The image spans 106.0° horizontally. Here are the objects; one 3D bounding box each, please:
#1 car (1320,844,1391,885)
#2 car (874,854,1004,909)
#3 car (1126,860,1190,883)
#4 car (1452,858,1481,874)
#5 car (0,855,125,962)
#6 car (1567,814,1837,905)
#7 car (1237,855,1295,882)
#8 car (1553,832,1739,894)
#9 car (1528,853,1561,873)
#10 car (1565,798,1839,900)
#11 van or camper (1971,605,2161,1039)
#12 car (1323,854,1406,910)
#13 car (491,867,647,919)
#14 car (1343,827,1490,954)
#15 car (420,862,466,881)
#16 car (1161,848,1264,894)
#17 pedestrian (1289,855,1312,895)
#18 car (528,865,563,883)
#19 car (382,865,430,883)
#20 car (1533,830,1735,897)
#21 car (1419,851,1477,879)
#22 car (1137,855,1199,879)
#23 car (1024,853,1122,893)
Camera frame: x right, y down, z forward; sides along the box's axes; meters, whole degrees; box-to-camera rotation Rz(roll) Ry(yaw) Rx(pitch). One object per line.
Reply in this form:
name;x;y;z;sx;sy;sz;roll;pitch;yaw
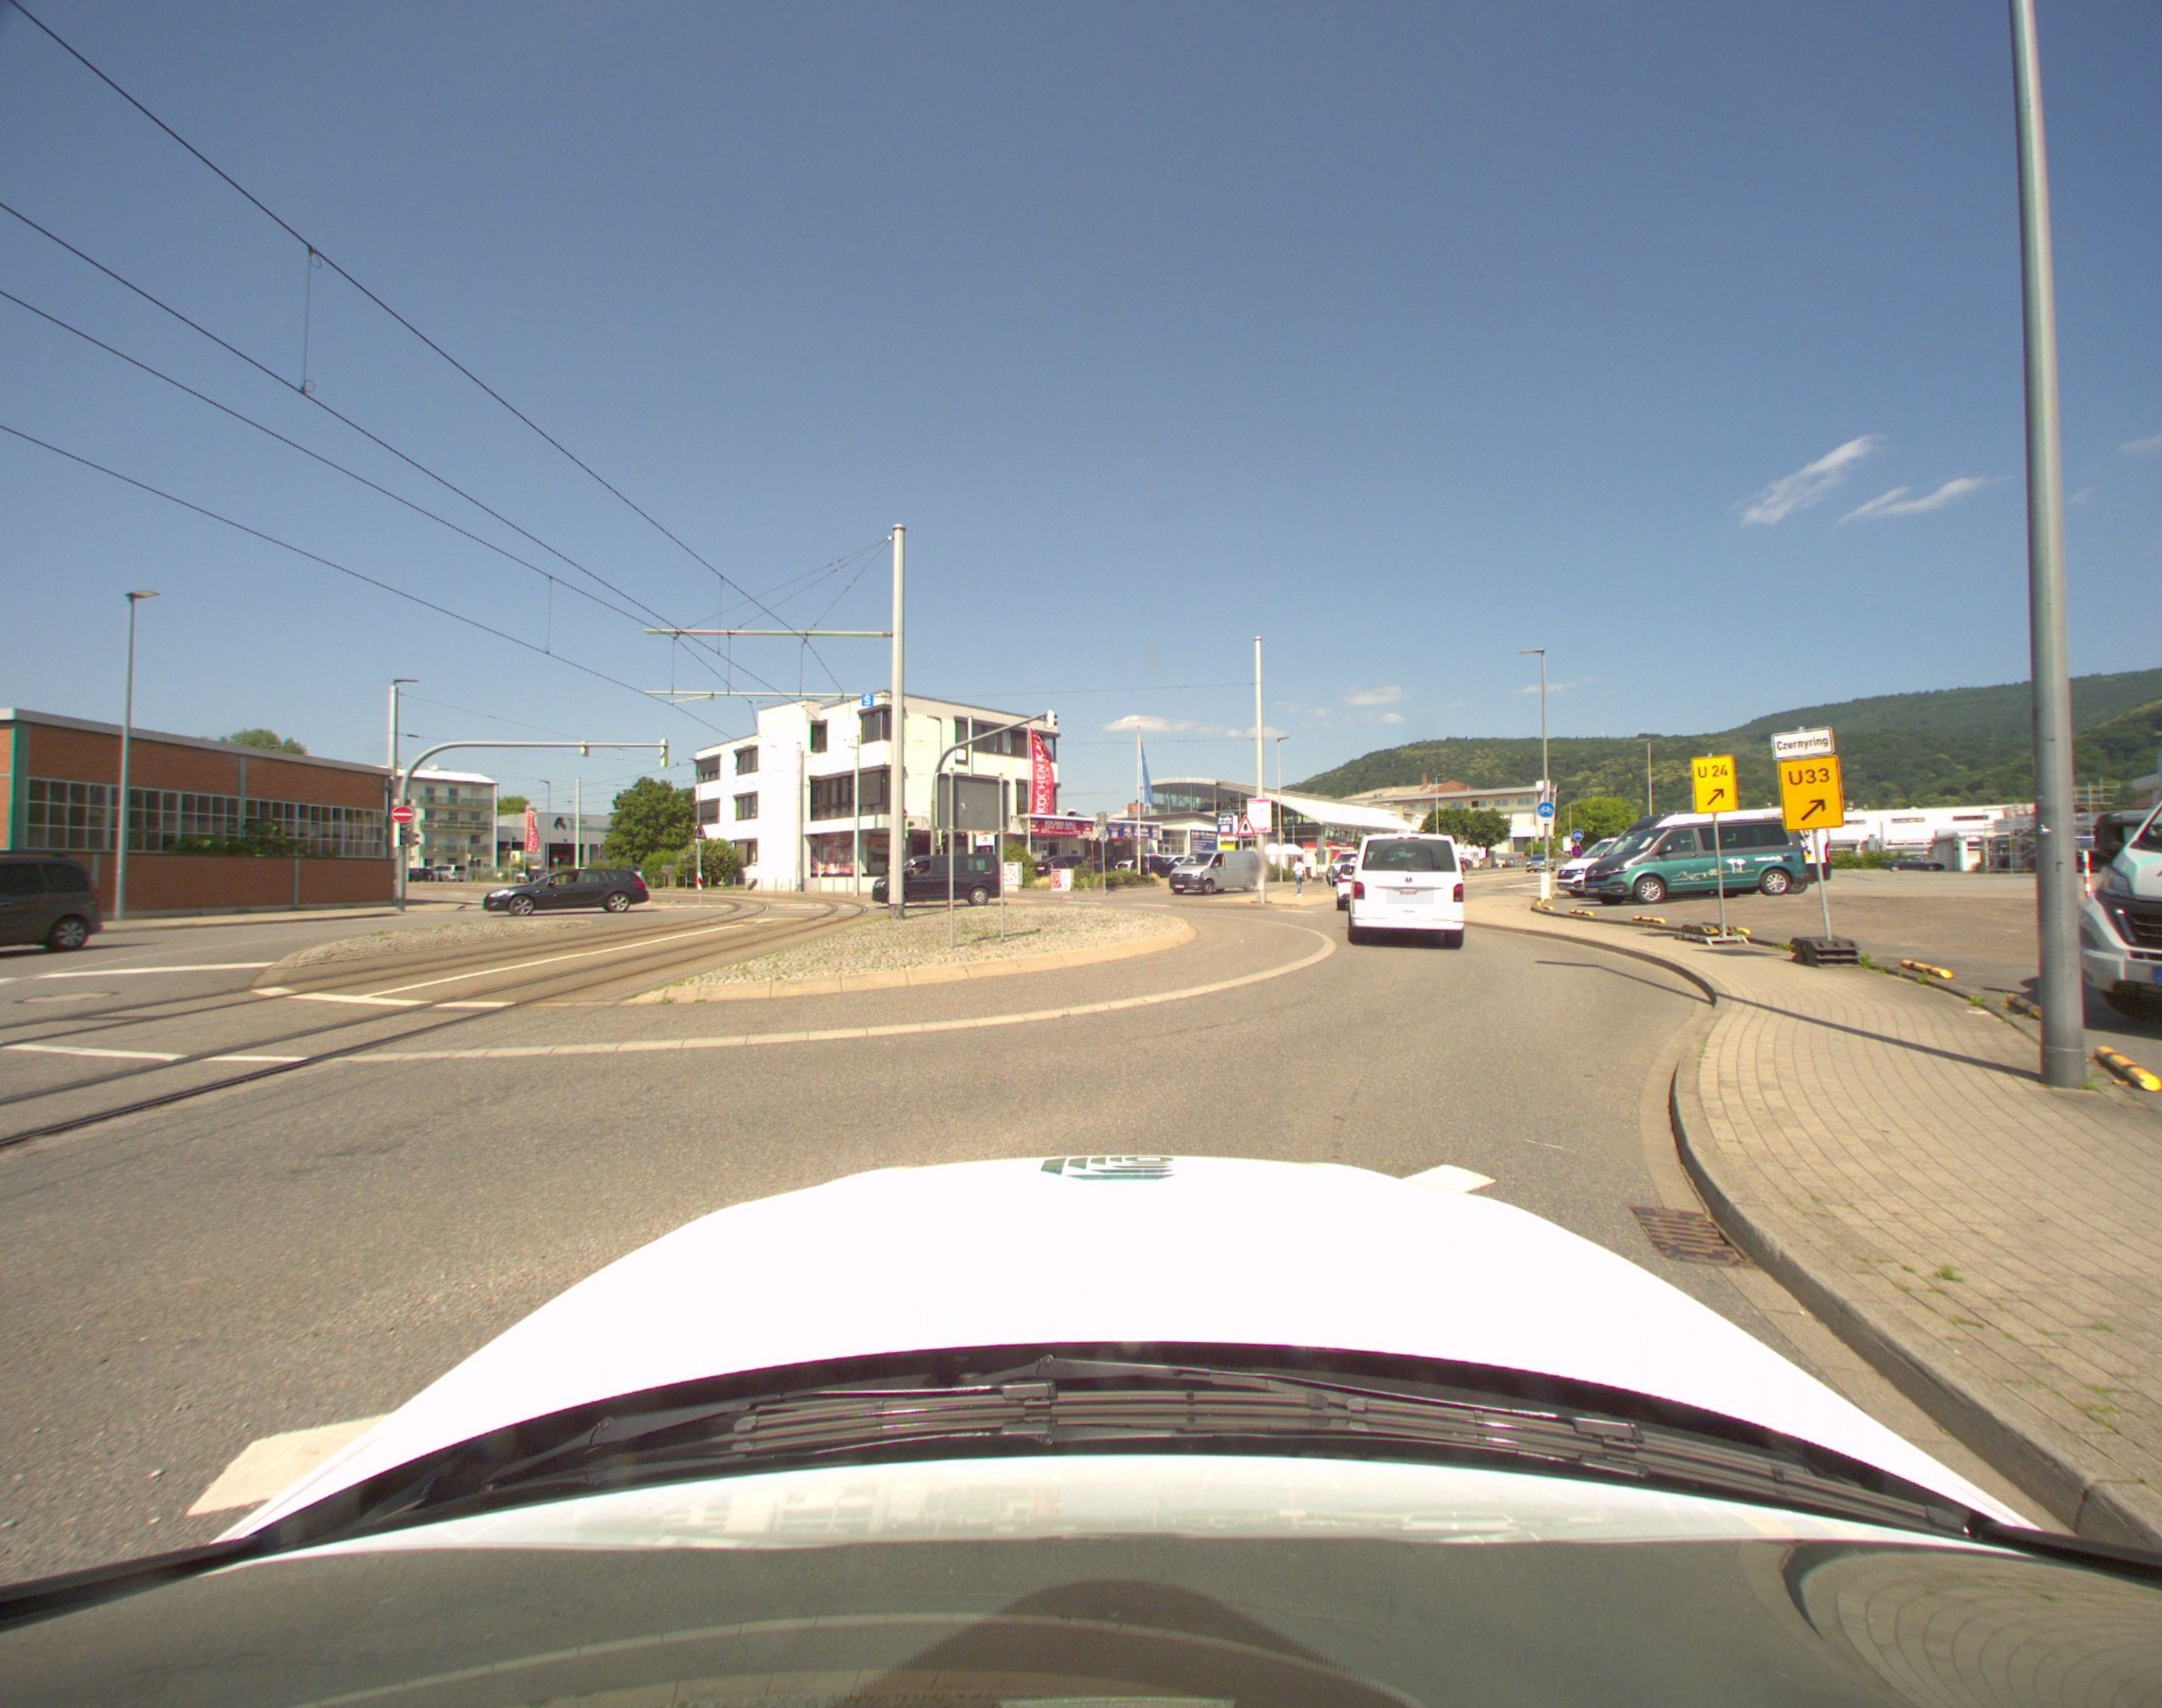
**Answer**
car;15.332;0.533;45.314;2.002;2.114;4.965;-1;0;41
car;-5.370;0.963;30.605;4.632;1.910;2.087;-1;0;-16
car;5.068;1.126;53.324;2.007;1.427;4.344;-1;-1;40
car;40.279;1.242;85.199;1.735;1.585;3.670;-1;-1;8
car;-19.327;0.928;13.493;1.981;1.818;4.400;0;-1;-6
car;15.697;0.154;20.852;5.188;2.113;2.099;-1;-1;3
car;12.067;0.918;52.893;1.974;1.618;4.025;-2;-1;41
car;20.183;0.335;29.328;5.099;2.014;1.937;-2;-1;12
car;43.434;0.799;76.310;1.890;1.760;4.479;-2;-1;40
car;18.117;-0.107;24.060;6.107;2.717;2.310;-1;-1;5
van or camper;10.861;-0.354;5.617;7.045;2.946;2.332;-2;-1;-3
car;9.466;0.895;27.533;1.981;1.733;4.577;-1;-1;11
car;-16.898;1.240;26.962;4.261;1.556;1.948;0;-2;-36
car;6.304;0.573;15.901;2.145;2.013;5.040;2;1;17
car;-71.751;1.972;91.610;3.958;2.014;2.008;-3;-1;14
car;6.000;0.744;36.789;4.854;1.935;1.910;0;-1;-41
pedestrian;9.082;0.857;33.754;0.756;1.656;0.672;0;-1;0
car;-55.405;2.074;84.230;3.949;1.783;2.012;-1;-1;40
car;-73.710;2.182;88.959;3.958;1.860;2.008;-3;-1;14
car;18.083;0.334;26.868;5.114;2.000;2.029;-1;-2;7
car;25.331;0.759;56.132;2.003;1.838;4.897;-1;-1;45
car;6.242;0.893;58.158;1.862;1.589;4.958;-4;-3;40
car;-0.355;0.954;42.767;1.941;1.966;5.312;-2;-1;45
